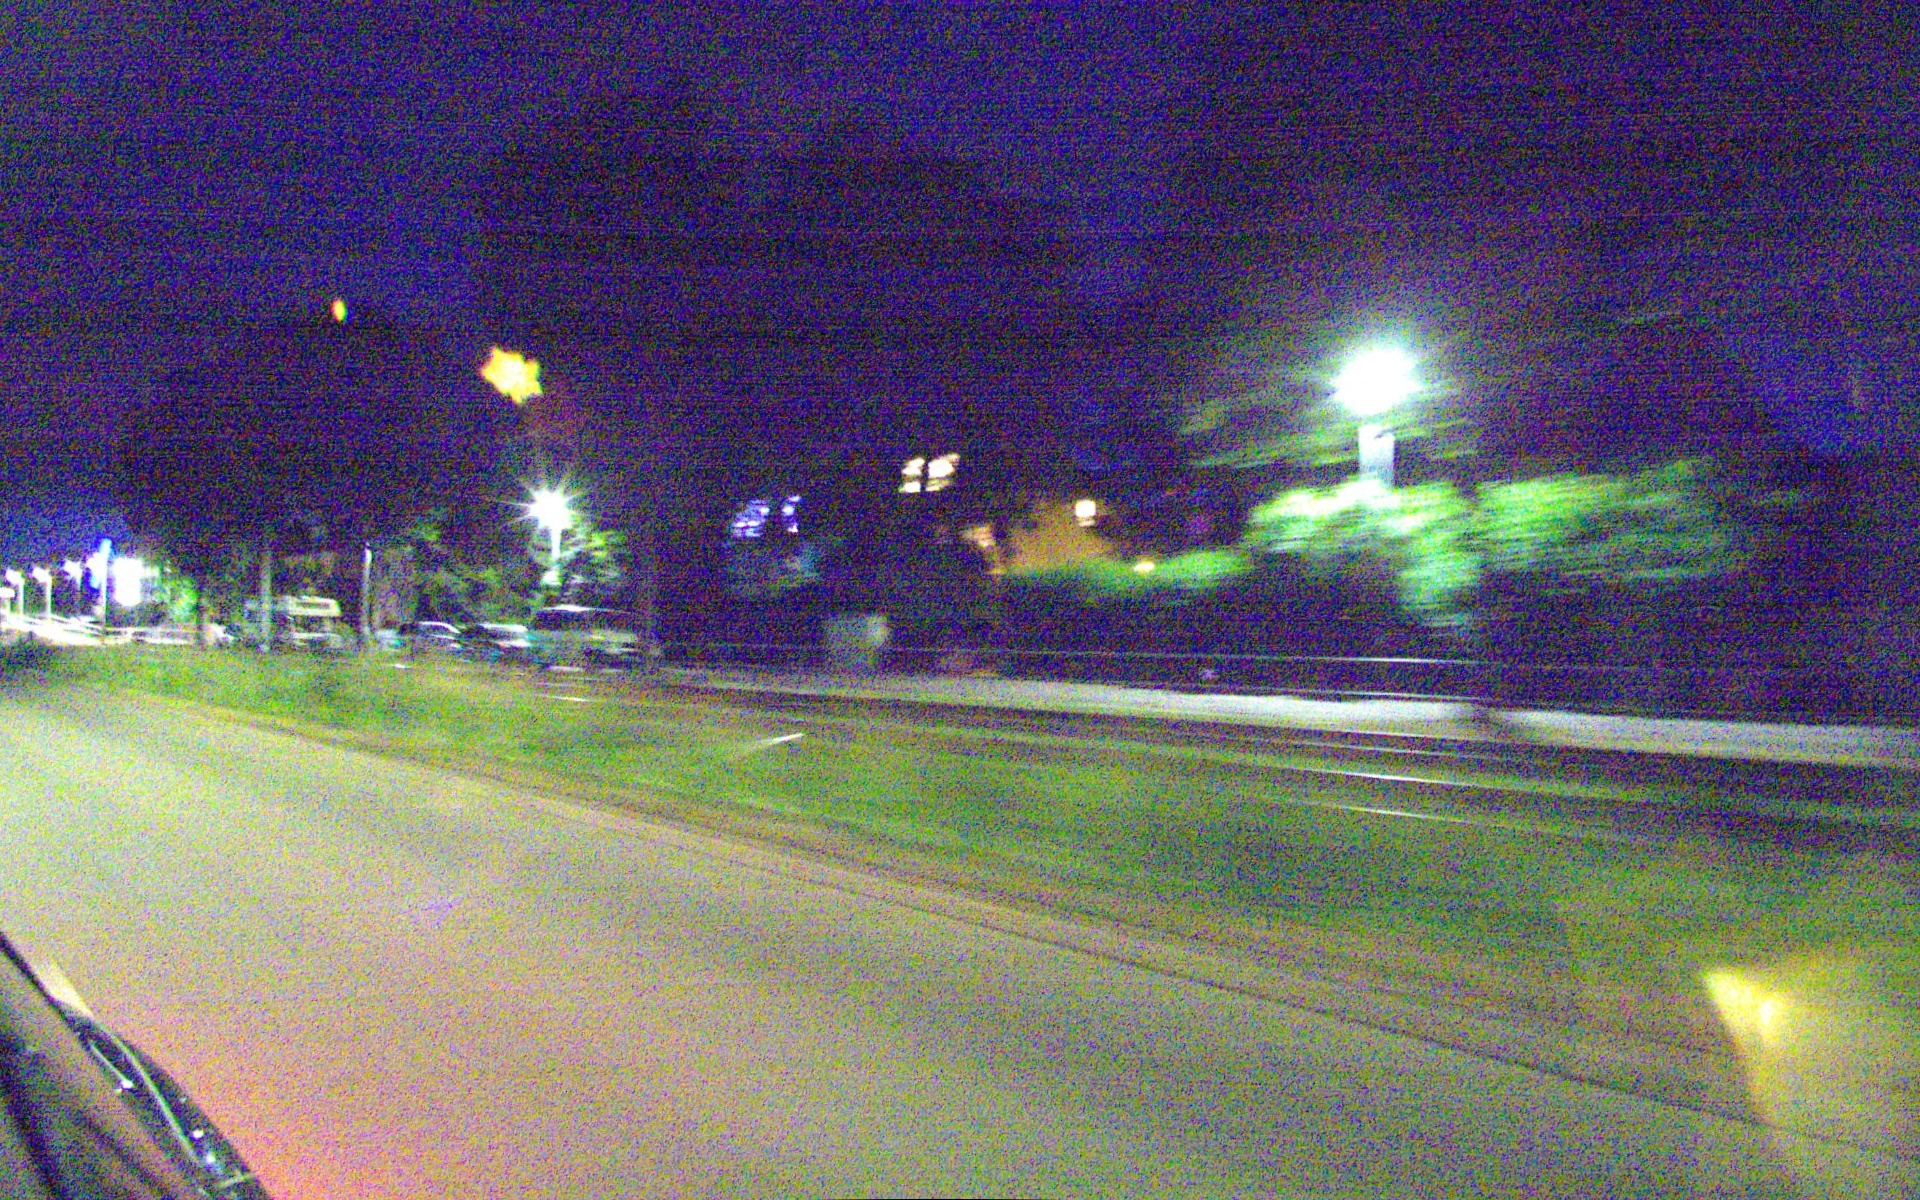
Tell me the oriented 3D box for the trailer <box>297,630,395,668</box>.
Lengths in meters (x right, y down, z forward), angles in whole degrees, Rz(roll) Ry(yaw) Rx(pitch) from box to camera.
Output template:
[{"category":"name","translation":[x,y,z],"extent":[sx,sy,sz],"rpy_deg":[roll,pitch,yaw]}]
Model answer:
[{"category":"trailer","translation":[-25.669,2.030,42.229],"extent":[4.657,1.385,2.392],"rpy_deg":[-2,-6,45]}]

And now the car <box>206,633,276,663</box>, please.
[{"category":"car","translation":[-35.808,2.363,50.379],"extent":[4.538,1.350,1.629],"rpy_deg":[-2,-6,40]}]

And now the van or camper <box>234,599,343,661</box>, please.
[{"category":"van or camper","translation":[-30.808,1.428,46.390],"extent":[5.653,2.668,2.252],"rpy_deg":[-2,-4,36]}]

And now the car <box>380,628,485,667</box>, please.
[{"category":"car","translation":[-19.085,1.682,36.686],"extent":[1.530,1.336,3.002],"rpy_deg":[-1,-2,35]}]

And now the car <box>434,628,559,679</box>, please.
[{"category":"car","translation":[-15.107,1.684,32.863],"extent":[5.171,1.534,1.881],"rpy_deg":[-2,-2,43]}]
